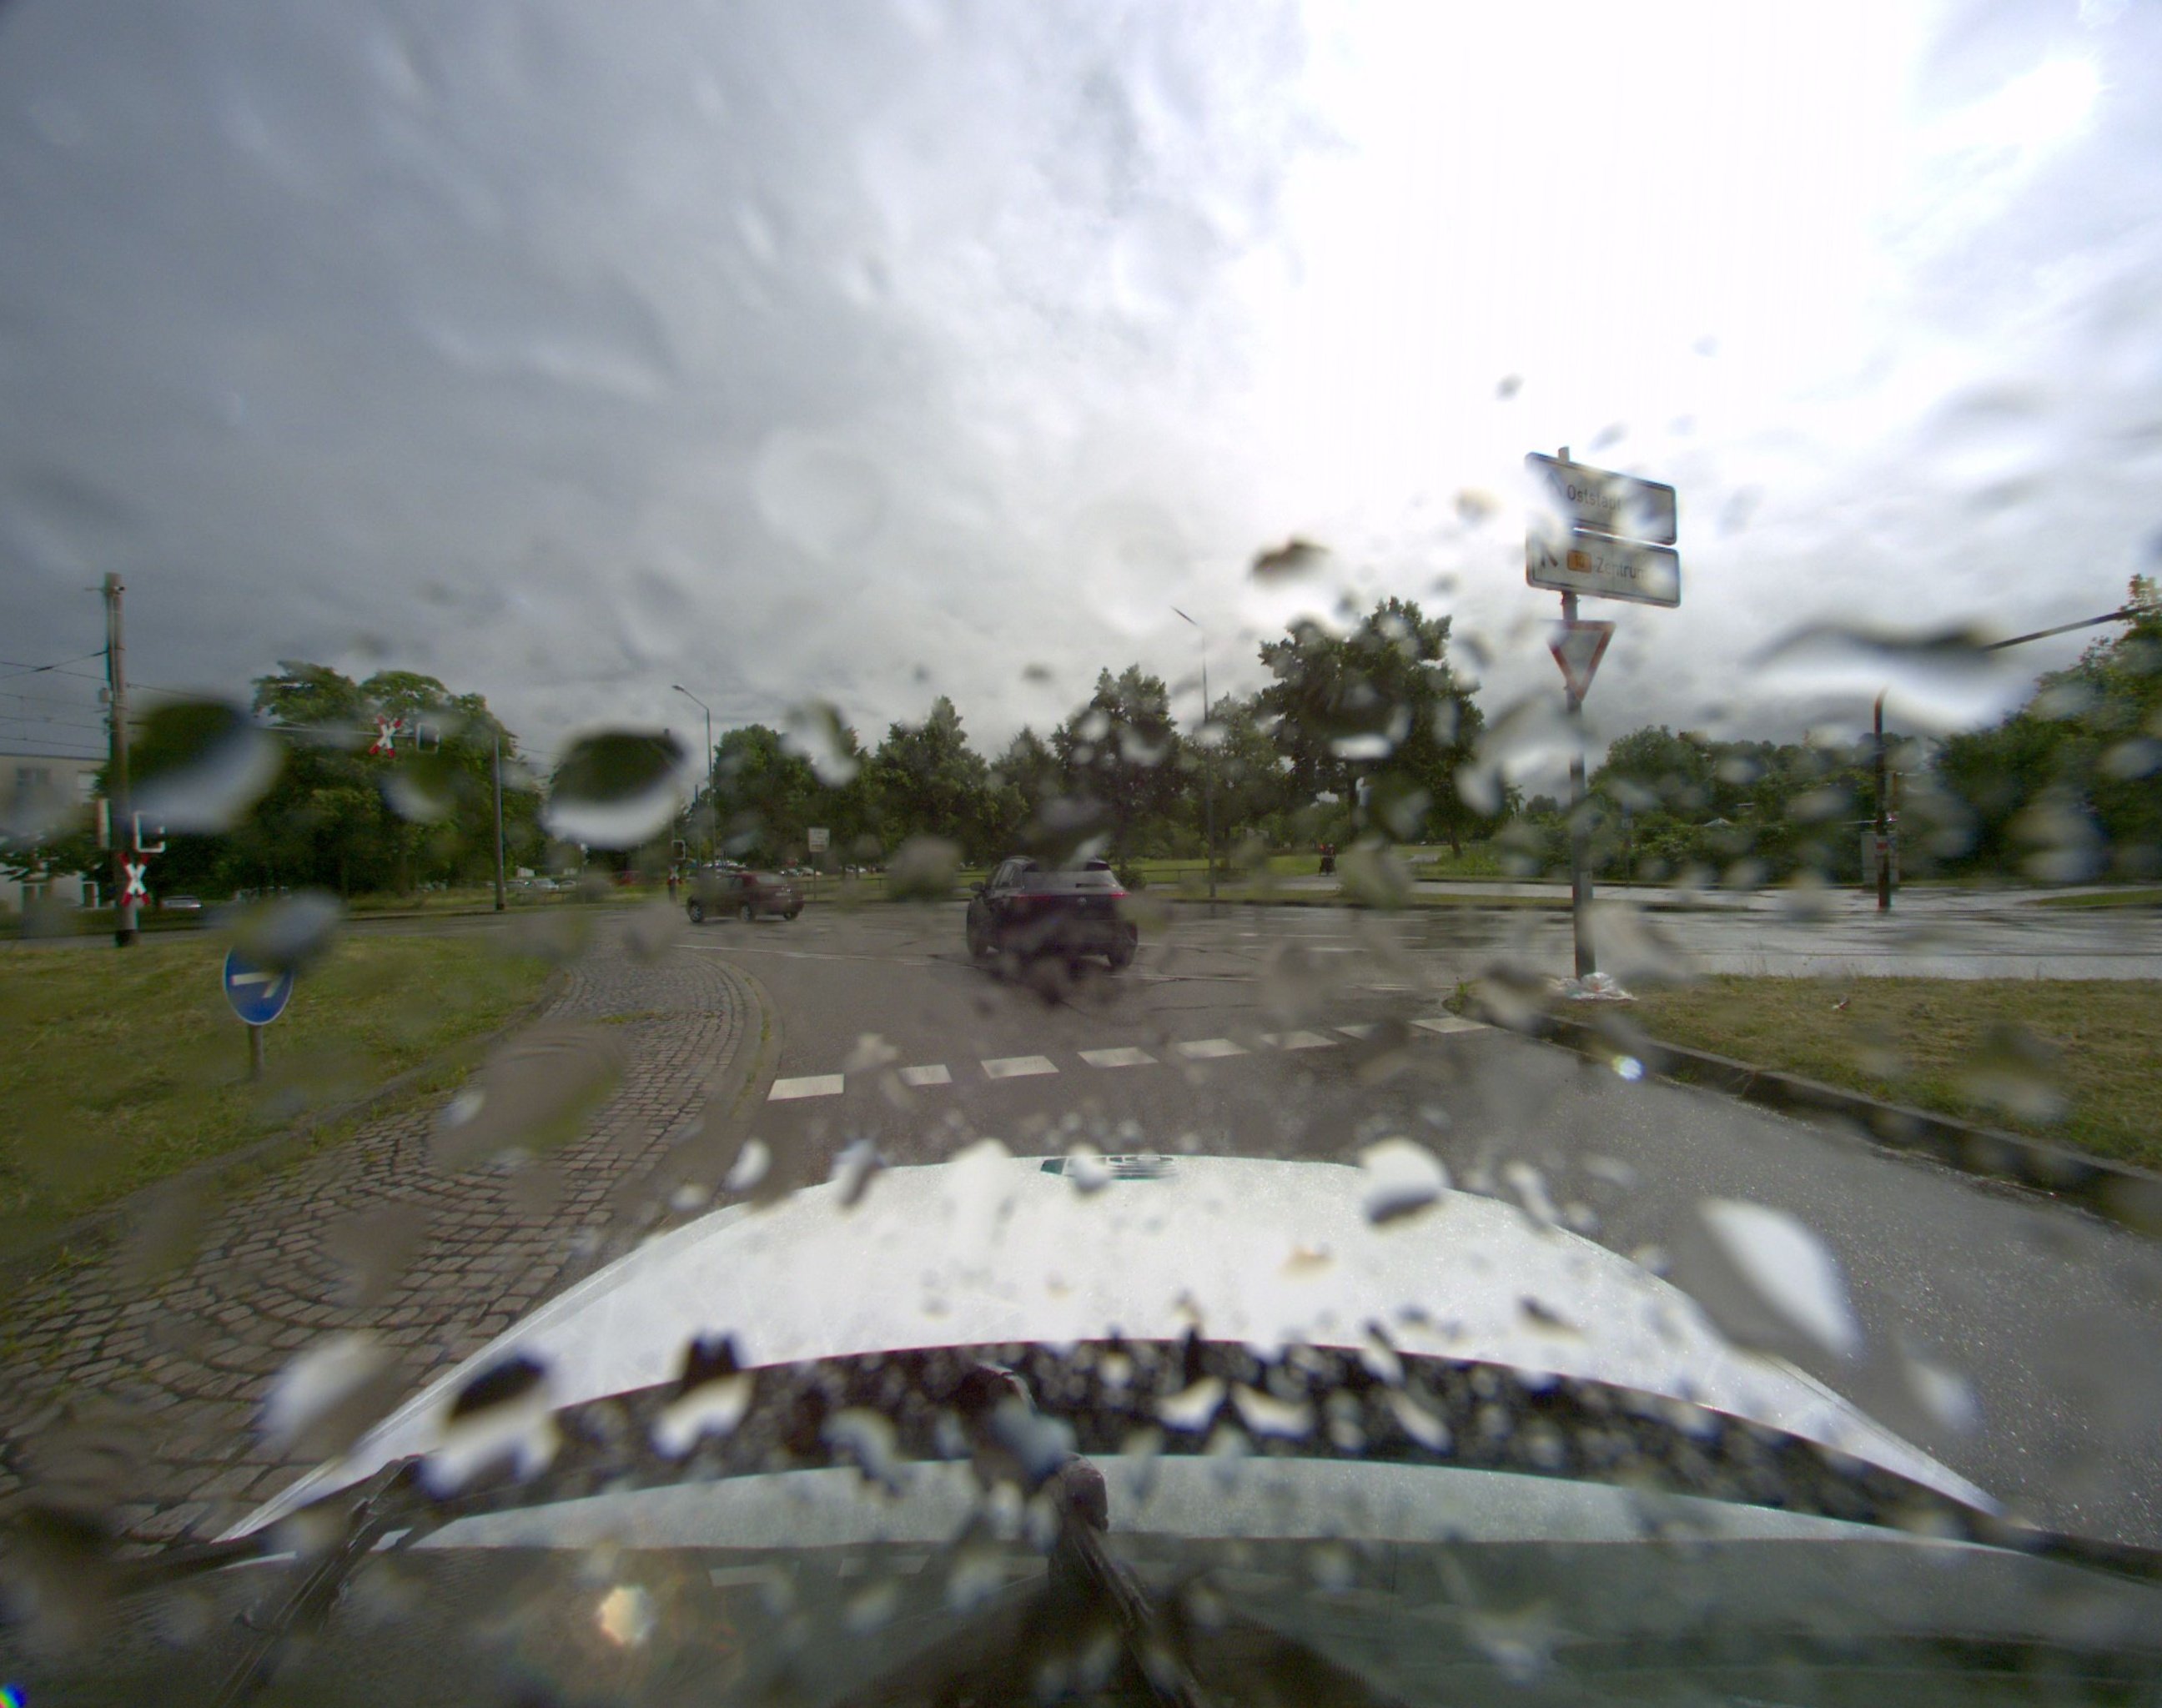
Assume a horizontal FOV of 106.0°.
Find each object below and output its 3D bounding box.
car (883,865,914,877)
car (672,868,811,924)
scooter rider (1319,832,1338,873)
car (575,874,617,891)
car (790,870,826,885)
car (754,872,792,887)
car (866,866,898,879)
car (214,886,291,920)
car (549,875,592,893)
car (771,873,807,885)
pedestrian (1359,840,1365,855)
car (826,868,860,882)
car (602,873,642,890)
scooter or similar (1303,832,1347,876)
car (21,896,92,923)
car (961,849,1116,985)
[{"bbox_3d":[-26.558,2.510,118.357,3.930,1.559,1.861,-3,0,24],"label":"car"},{"bbox_3d":[-10.001,1.204,23.954,3.948,1.462,1.731,-2,1,32],"label":"car"},{"bbox_3d":[12.454,-0.074,40.976,0.697,2.014,0.775,-2,-2,31],"label":"scooter rider"},{"bbox_3d":[-45.350,2.662,76.087,3.565,1.462,1.655,-3,0,26],"label":"car"},{"bbox_3d":[-33.952,2.916,101.232,3.930,1.559,1.861,-3,0,24],"label":"car"},{"bbox_3d":[-36.377,3.052,96.255,3.930,1.559,1.861,-3,0,24],"label":"car"},{"bbox_3d":[-27.986,2.586,114.410,3.930,1.559,1.861,-3,0,24],"label":"car"},{"bbox_3d":[-55.667,3.273,54.706,5.096,2.057,2.126,-2,1,28],"label":"car"},{"bbox_3d":[-46.162,2.719,73.663,3.565,1.462,1.655,-3,0,26],"label":"car"},{"bbox_3d":[-35.448,3.033,98.842,3.930,1.308,1.861,-3,0,24],"label":"car"},{"bbox_3d":[34.419,-0.801,99.672,0.592,1.732,0.609,-2,-2,26],"label":"pedestrian"},{"bbox_3d":[-31.407,2.780,107.553,3.930,1.559,1.861,-3,0,24],"label":"car"},{"bbox_3d":[-44.196,2.671,78.359,3.603,1.510,1.660,-3,0,29],"label":"car"},{"bbox_3d":[12.038,0.028,40.054,1.224,2.014,3.430,-2,-2,31],"label":"scooter or similar"},{"bbox_3d":[-68.023,3.642,54.083,4.056,1.552,1.862,0,1,22],"label":"car"},{"bbox_3d":[-0.752,0.772,12.042,1.896,1.617,3.990,-1,0,-7],"label":"car"}]
